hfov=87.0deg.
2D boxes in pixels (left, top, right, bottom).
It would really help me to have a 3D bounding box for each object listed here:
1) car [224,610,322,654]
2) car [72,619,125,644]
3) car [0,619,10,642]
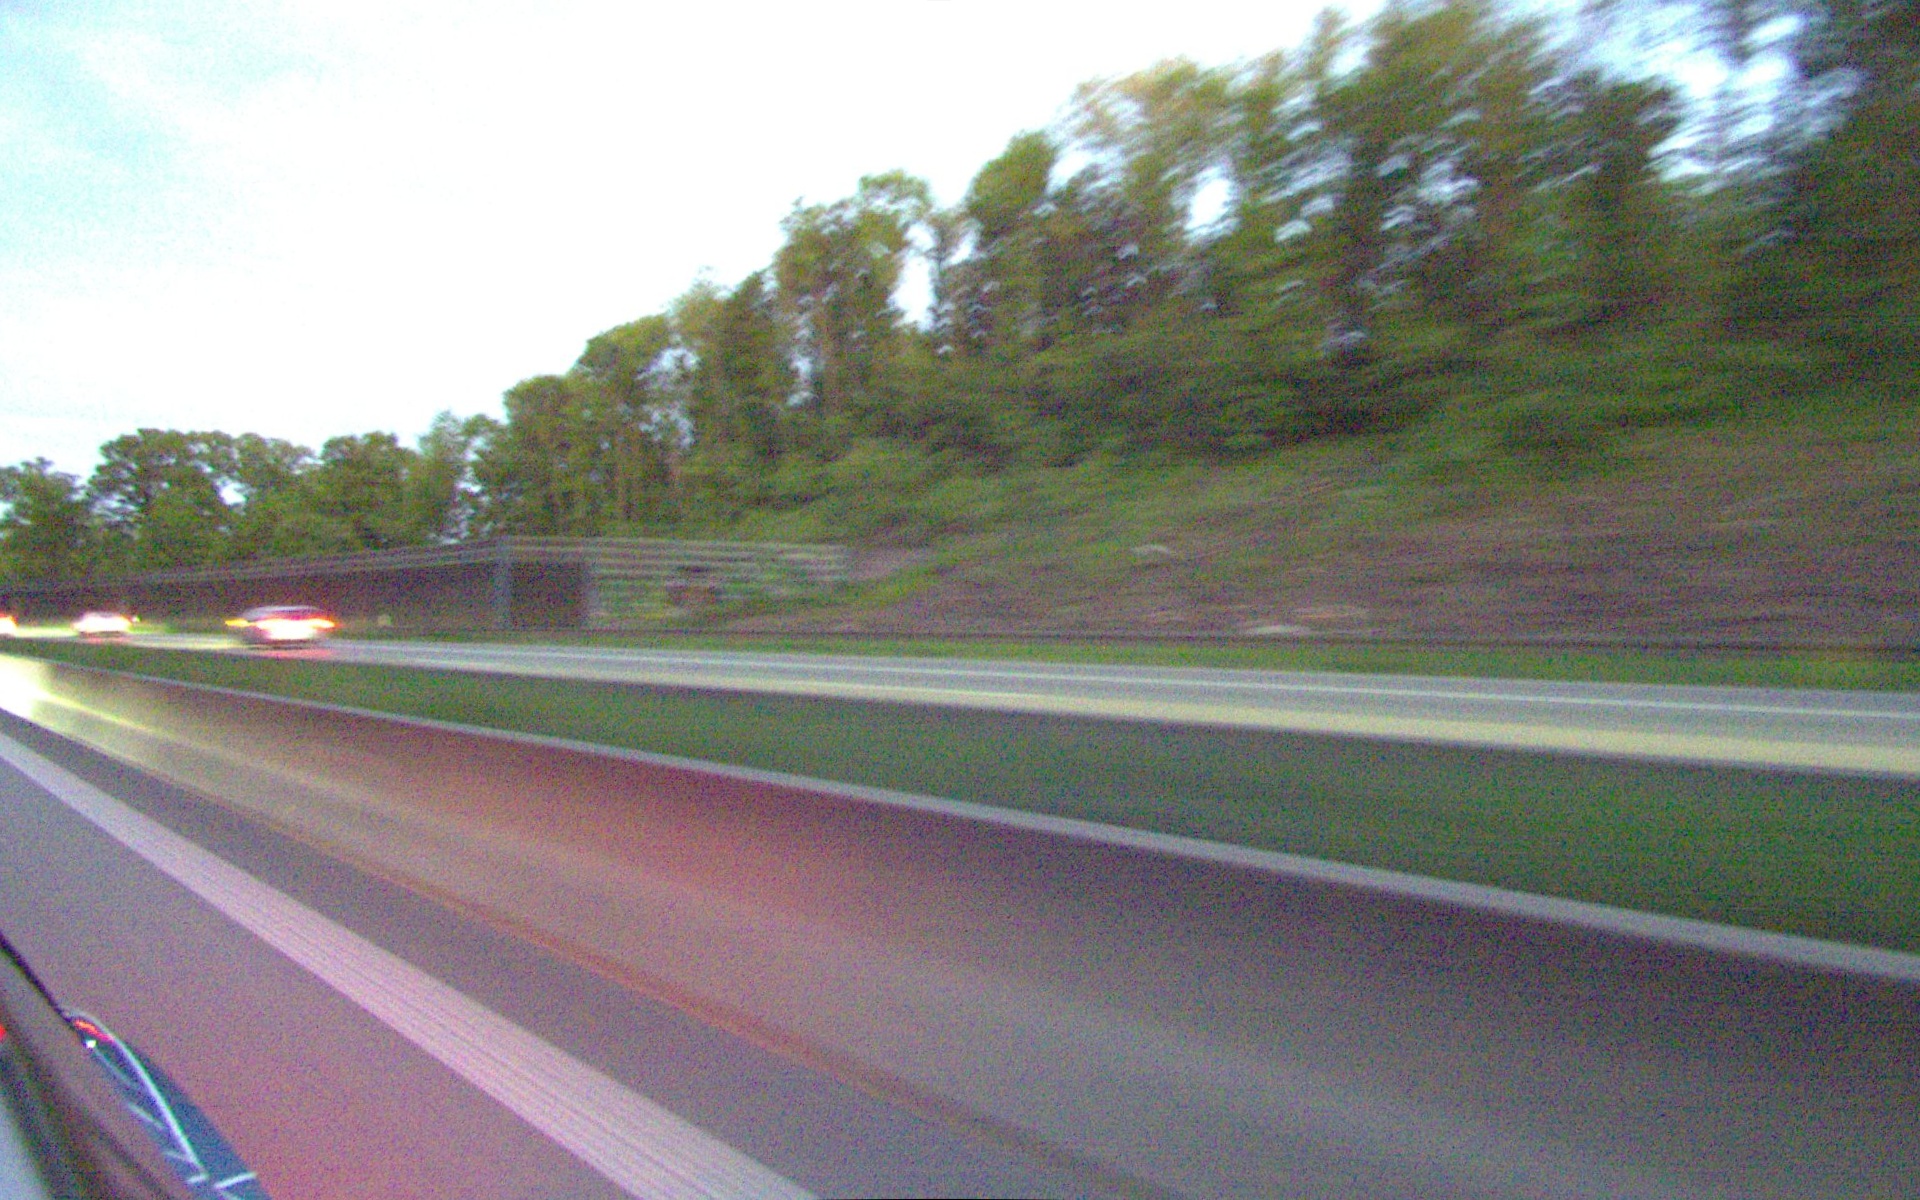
[{"bbox_3d":[-28.574,1.312,42.008,5.279,1.729,1.900,-2,-1,39],"label":"car"},{"bbox_3d":[-56.545,2.068,66.360,5.091,1.572,1.867,-2,-1,41],"label":"car"},{"bbox_3d":[-68.924,2.173,71.752,4.332,1.568,1.801,-2,-1,40],"label":"car"}]
